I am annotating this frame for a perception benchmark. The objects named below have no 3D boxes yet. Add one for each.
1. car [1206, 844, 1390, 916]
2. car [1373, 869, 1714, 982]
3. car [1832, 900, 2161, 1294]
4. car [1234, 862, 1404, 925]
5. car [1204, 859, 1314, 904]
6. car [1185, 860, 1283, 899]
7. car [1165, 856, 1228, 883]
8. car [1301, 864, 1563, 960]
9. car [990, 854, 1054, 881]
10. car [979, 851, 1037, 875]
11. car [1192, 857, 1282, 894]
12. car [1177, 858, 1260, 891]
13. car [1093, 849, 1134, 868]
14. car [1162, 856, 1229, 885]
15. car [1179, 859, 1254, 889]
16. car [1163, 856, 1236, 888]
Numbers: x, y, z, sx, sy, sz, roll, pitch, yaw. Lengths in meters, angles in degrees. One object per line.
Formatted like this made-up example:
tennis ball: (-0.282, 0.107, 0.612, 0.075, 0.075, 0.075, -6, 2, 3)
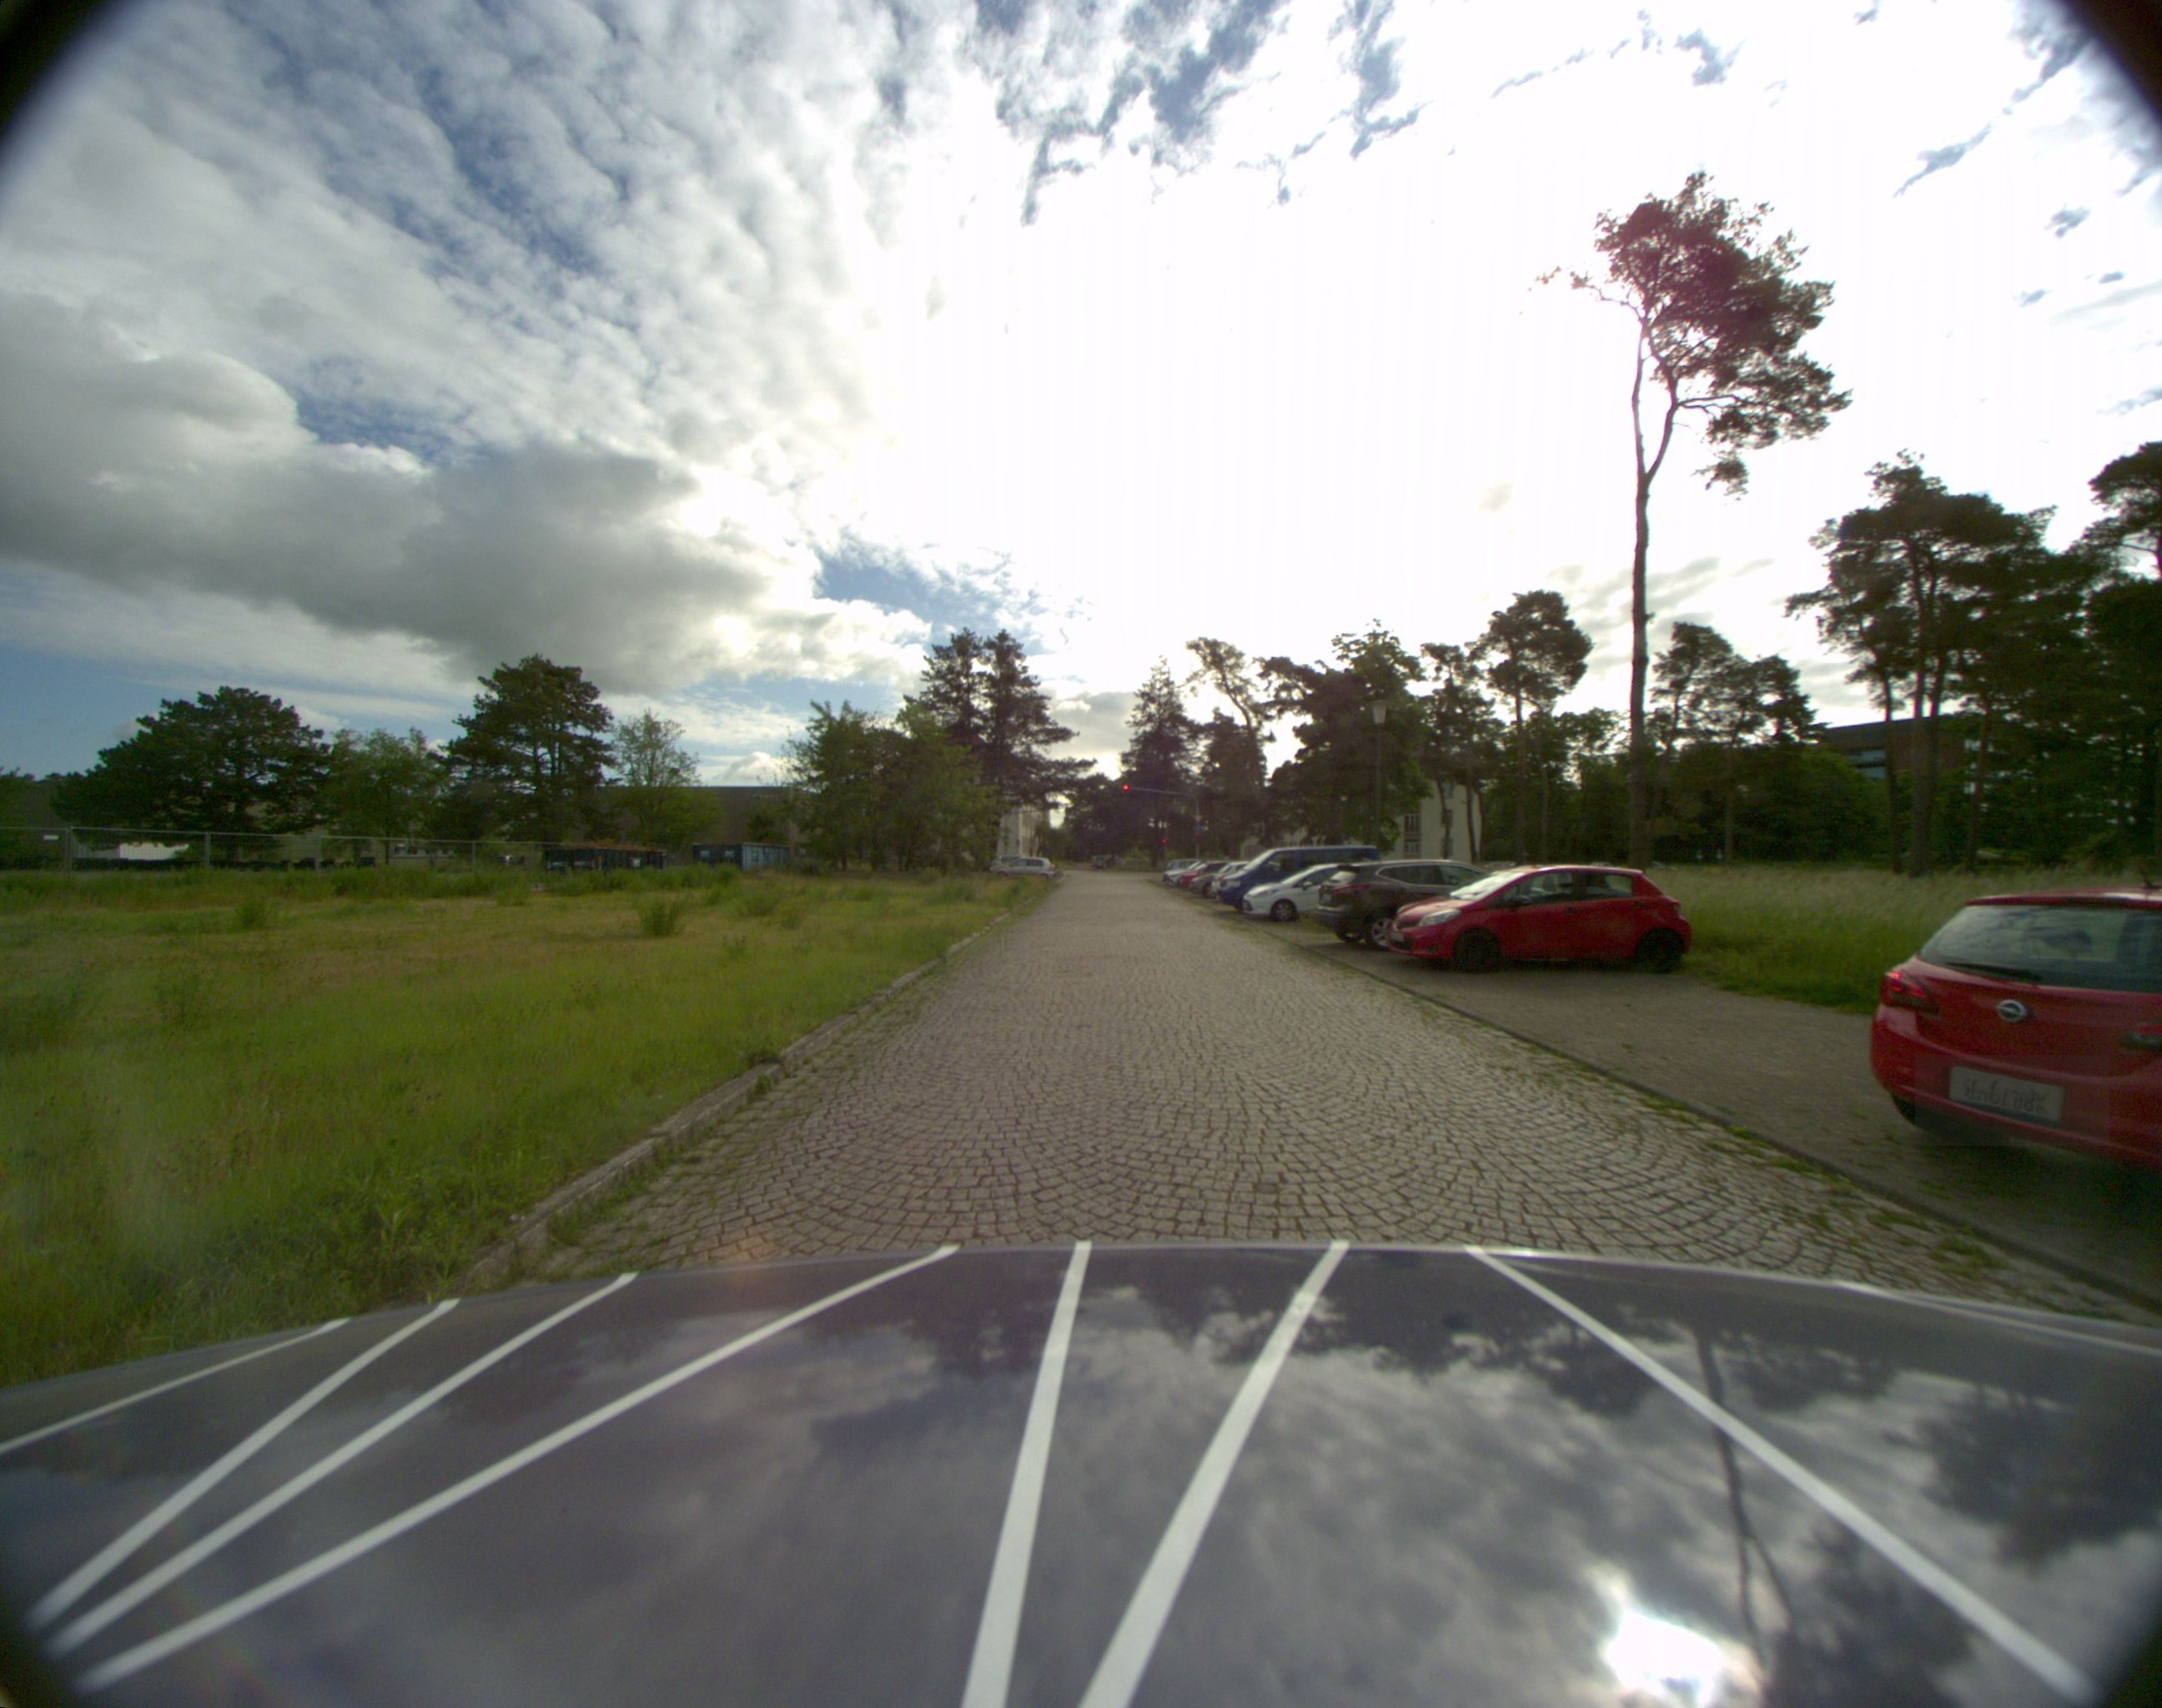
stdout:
car: (6.411, 0.740, 22.874, 4.833, 1.855, 2.161, -2, 1, -1)
car: (6.576, 0.985, 11.126, 3.950, 1.511, 1.707, 0, 0, 1)
car: (6.248, 0.994, 3.508, 3.893, 1.470, 1.672, -1, 0, 0)
car: (6.240, 1.012, 20.214, 3.930, 1.385, 1.742, -2, 1, -1)
car: (6.604, 0.984, 28.323, 3.600, 1.446, 1.686, -3, 1, -6)
car: (6.202, 1.015, 31.040, 3.600, 1.412, 1.617, -2, 1, -6)
car: (7.047, 0.932, 46.651, 3.455, 1.424, 1.627, -3, 1, -9)
car: (6.252, 0.999, 13.858, 3.916, 1.594, 1.821, 1, 0, -2)
car: (-3.516, 0.784, 45.677, 3.730, 1.429, 1.626, -2, 1, -3)
car: (-4.917, 0.599, 51.134, 3.731, 1.429, 1.625, -2, 1, -7)
car: (6.963, 0.940, 34.040, 3.572, 1.426, 1.605, -3, 1, -6)
car: (6.581, 0.967, 36.601, 3.572, 1.408, 1.637, -3, 1, -6)
car: (4.838, 0.709, 113.573, 5.797, 2.548, 2.768, -3, 1, -4)
car: (6.625, 0.956, 44.156, 3.571, 1.450, 1.626, -2, 1, -1)
car: (6.921, 1.016, 39.092, 3.649, 1.340, 1.621, -2, 1, 5)
car: (6.378, 0.948, 41.128, 3.573, 1.479, 1.601, -3, 1, -7)
